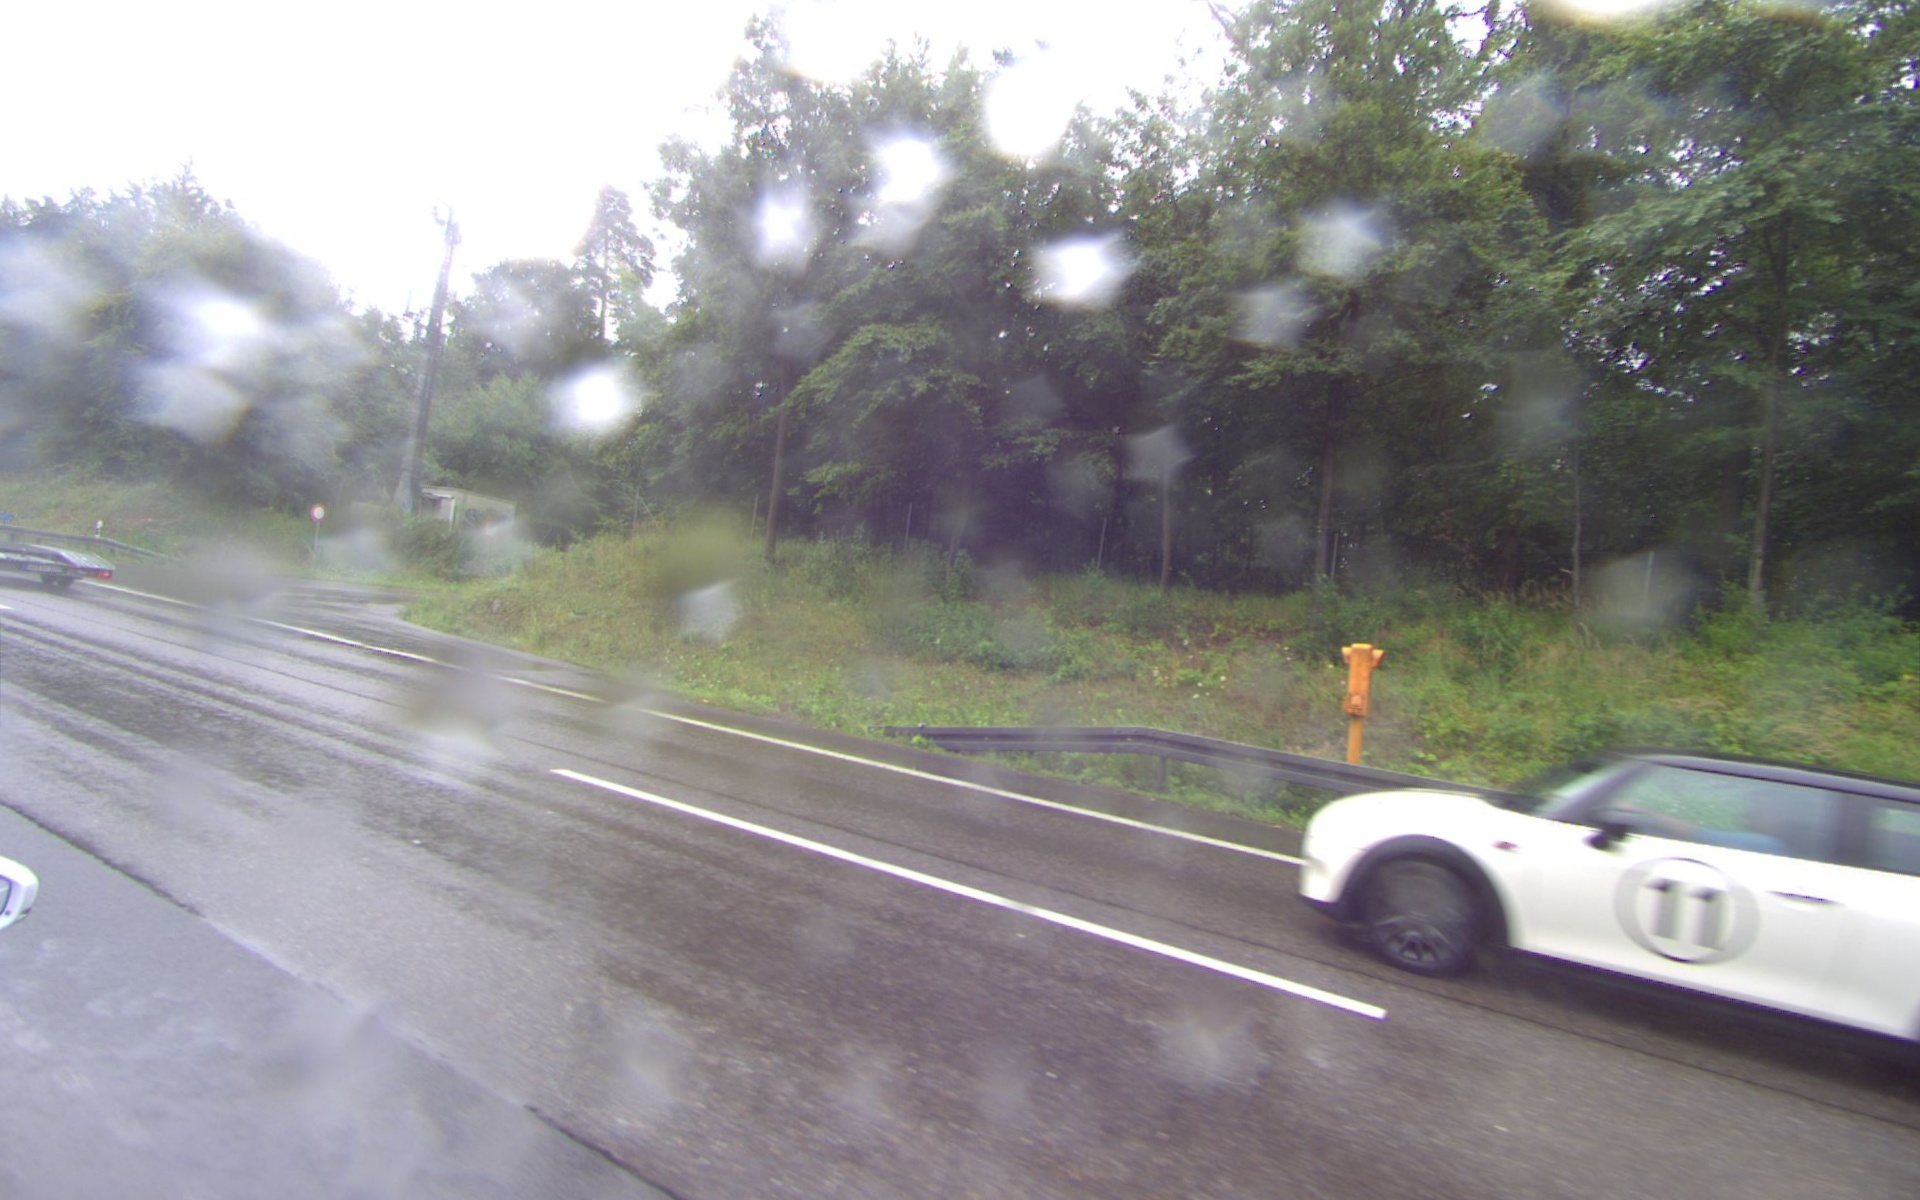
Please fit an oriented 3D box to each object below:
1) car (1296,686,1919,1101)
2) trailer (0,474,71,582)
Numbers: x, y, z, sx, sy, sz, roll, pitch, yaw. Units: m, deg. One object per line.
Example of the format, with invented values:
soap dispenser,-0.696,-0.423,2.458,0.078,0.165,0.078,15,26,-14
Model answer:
car,4.231,1.503,5.460,4.157,1.423,1.794,7,-1,31
trailer,-18.566,-1.539,18.433,5.003,1.734,2.245,7,-2,36
